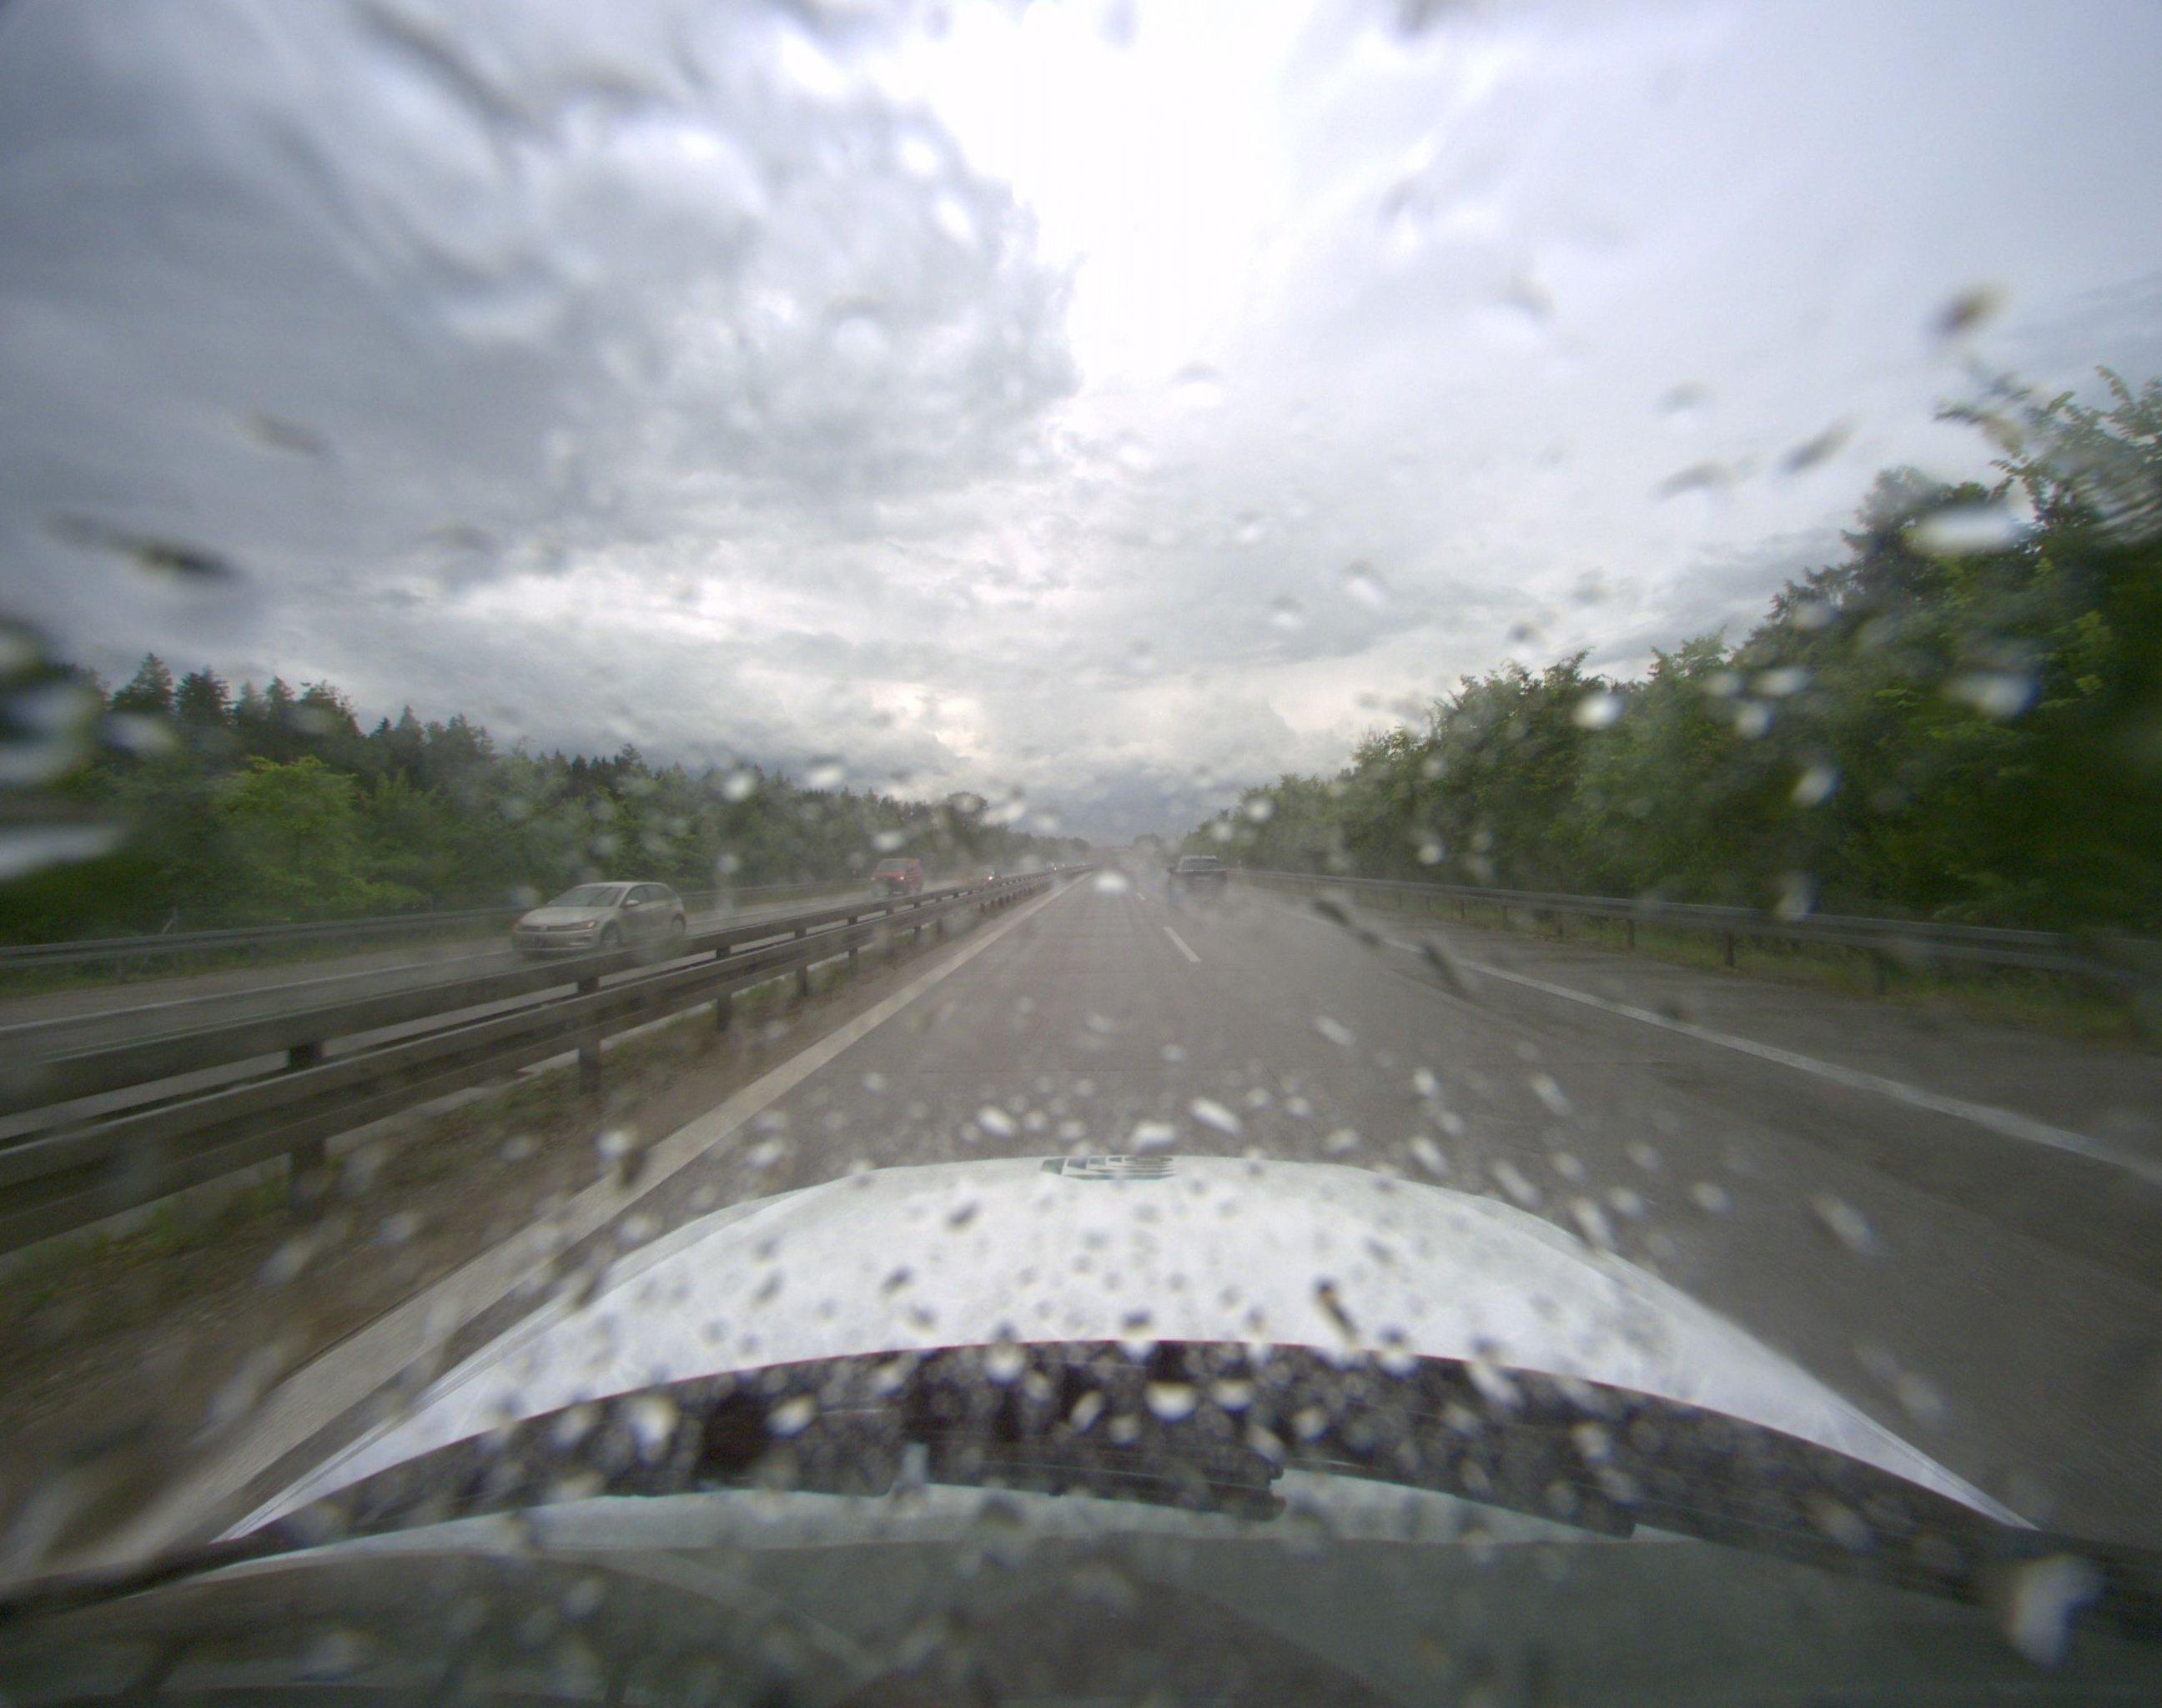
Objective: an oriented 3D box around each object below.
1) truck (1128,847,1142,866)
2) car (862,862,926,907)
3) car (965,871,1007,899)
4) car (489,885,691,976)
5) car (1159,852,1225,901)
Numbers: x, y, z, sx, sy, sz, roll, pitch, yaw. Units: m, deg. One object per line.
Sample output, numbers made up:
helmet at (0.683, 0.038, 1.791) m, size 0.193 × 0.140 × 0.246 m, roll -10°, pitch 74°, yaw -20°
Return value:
truck at (13.446, 0.632, 201.259) m, size 3.228 × 4.437 × 8.256 m, roll -1°, pitch -1°, yaw 5°
car at (-9.964, 1.576, 43.945) m, size 1.986 × 2.064 × 5.314 m, roll -4°, pitch 0°, yaw 1°
car at (-6.073, 1.937, 52.441) m, size 1.986 × 1.483 × 4.558 m, roll -4°, pitch 0°, yaw 1°
car at (-10.130, 1.508, 17.209) m, size 1.743 × 1.435 × 3.919 m, roll -4°, pitch 0°, yaw 1°
car at (3.862, 0.786, 28.846) m, size 1.887 × 1.576 × 3.631 m, roll -1°, pitch -1°, yaw 1°
